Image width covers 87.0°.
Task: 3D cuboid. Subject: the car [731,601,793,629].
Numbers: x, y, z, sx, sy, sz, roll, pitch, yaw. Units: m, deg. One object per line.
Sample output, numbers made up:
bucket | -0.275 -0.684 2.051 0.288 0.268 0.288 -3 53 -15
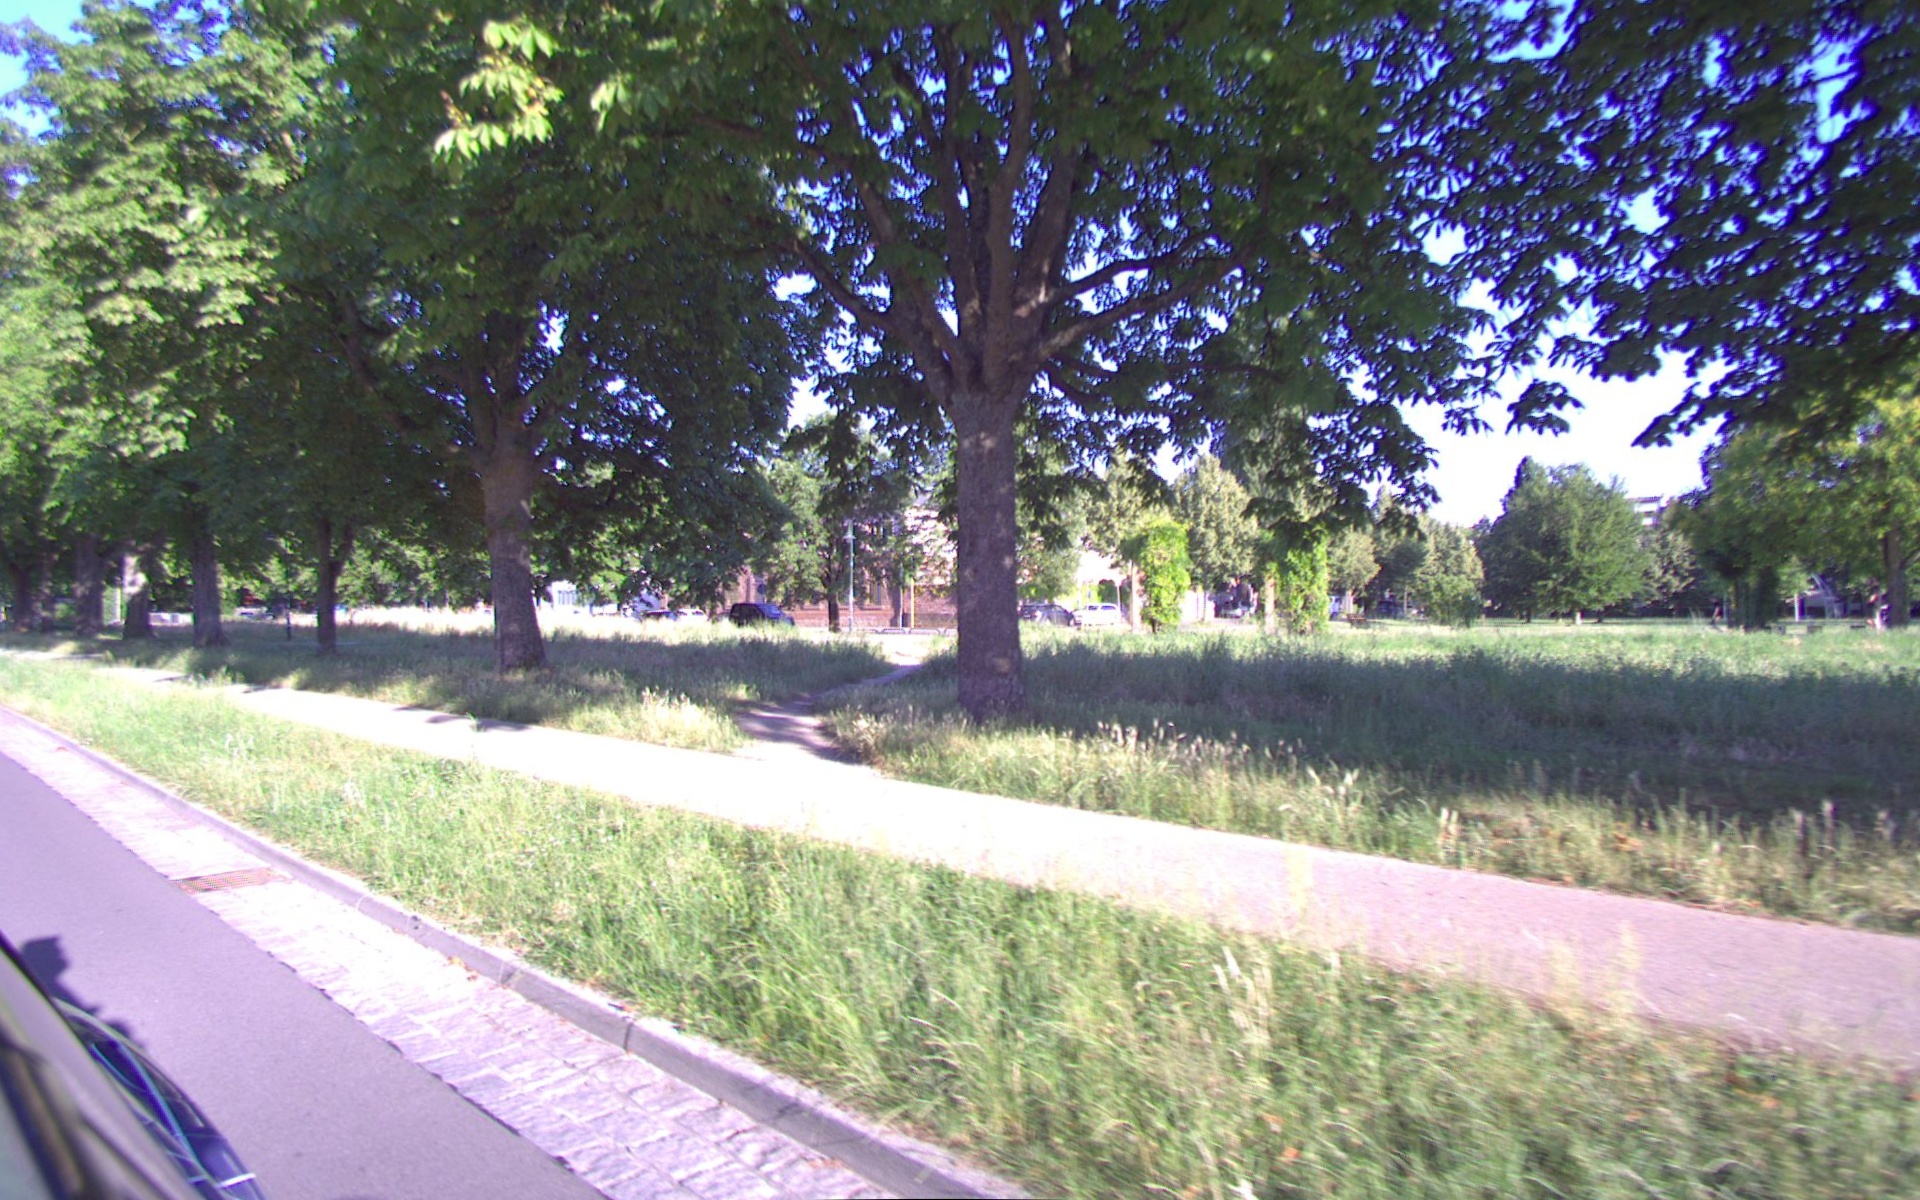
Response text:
car | -11.285 0.845 57.581 3.639 1.492 1.564 0 1 42

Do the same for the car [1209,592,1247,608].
car | 22.389 0.004 84.541 1.586 1.289 3.589 0 1 42

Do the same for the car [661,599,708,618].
car | -19.757 0.590 72.468 3.580 1.284 1.564 0 1 42

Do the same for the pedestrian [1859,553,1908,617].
pedestrian | 25.659 -0.414 28.140 0.709 1.737 0.774 0 1 13

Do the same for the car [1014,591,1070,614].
car | 5.005 0.149 61.618 1.586 1.289 3.589 0 1 42

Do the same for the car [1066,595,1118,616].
car | 8.662 0.350 66.192 1.586 1.289 3.589 0 1 42

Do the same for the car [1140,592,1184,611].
car | 15.061 0.110 75.245 1.586 1.289 3.589 0 1 42
